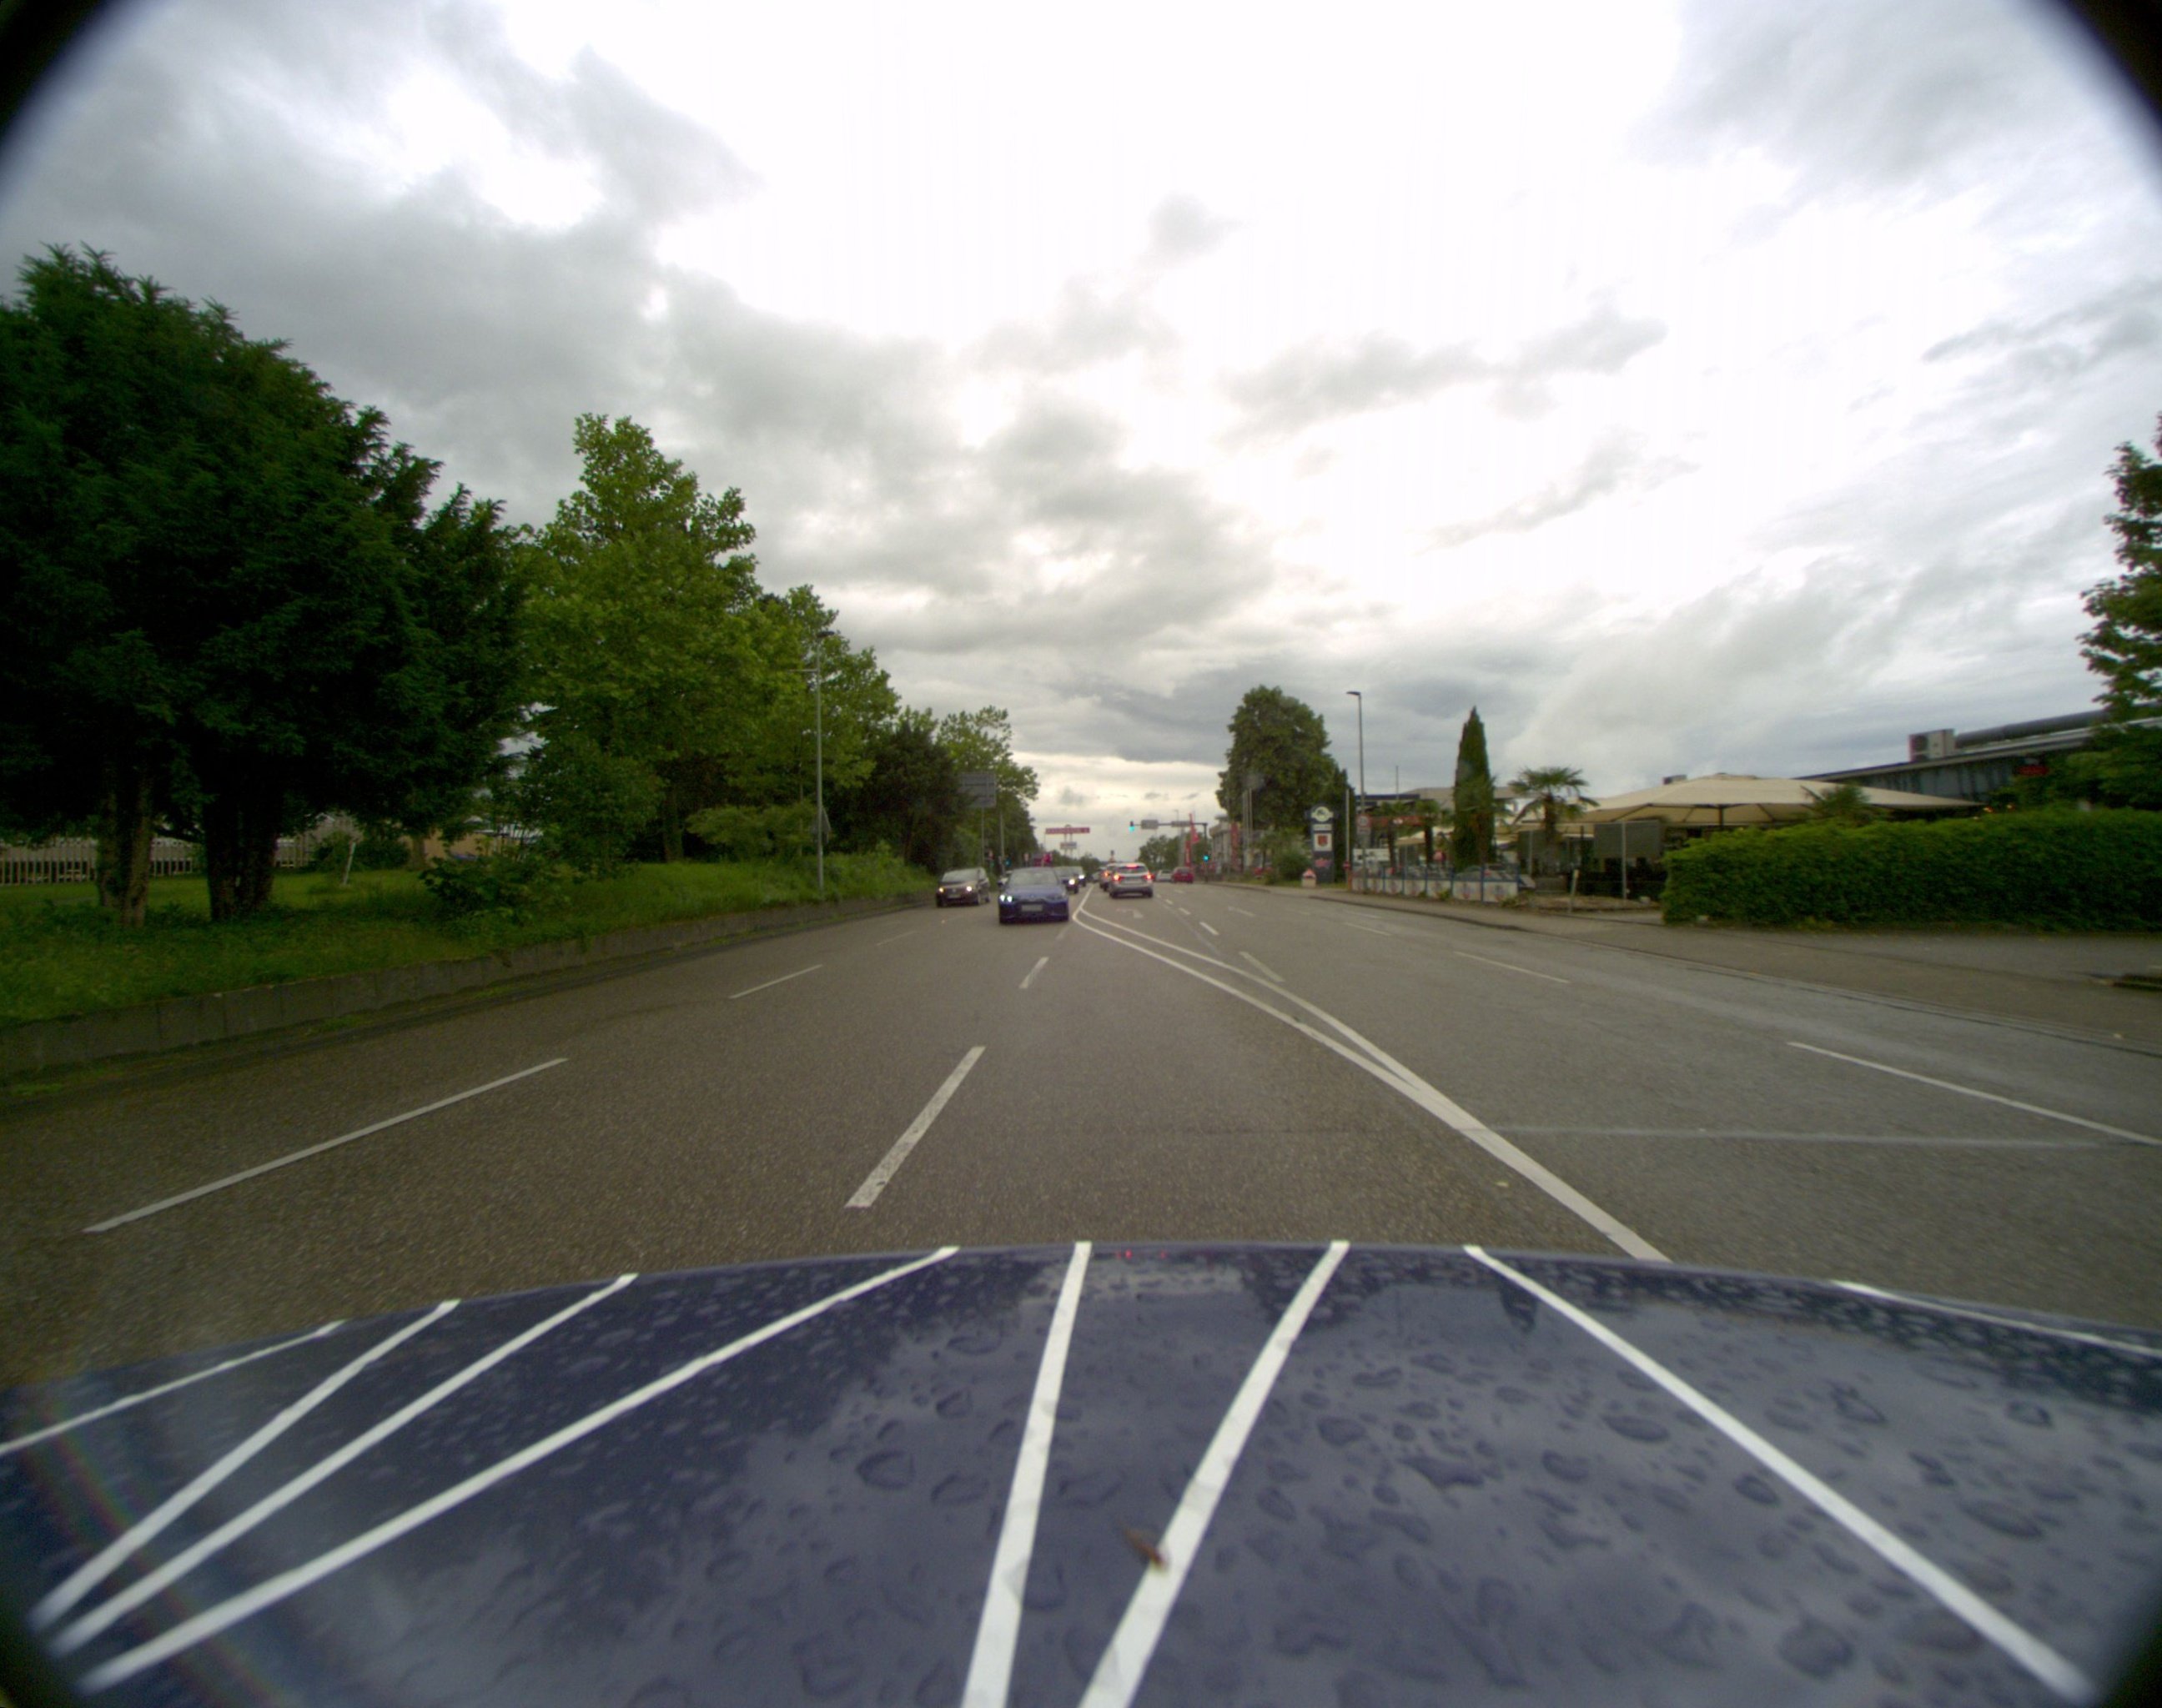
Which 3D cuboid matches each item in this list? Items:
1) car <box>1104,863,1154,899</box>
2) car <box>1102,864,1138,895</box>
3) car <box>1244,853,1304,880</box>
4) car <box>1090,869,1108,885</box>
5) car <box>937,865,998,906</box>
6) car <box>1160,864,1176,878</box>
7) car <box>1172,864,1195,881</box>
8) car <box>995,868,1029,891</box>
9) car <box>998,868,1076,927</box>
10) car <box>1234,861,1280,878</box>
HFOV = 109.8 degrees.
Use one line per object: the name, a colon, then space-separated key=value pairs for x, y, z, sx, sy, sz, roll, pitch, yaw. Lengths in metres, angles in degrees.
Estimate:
car: x=2.122 y=1.159 z=34.539 sx=1.754 sy=1.499 sz=4.301 roll=-1 pitch=0 yaw=-3
car: x=2.095 y=1.368 z=41.969 sx=1.791 sy=1.571 sz=4.240 roll=-1 pitch=0 yaw=1
car: x=15.575 y=1.035 z=61.279 sx=4.406 sy=2.001 sz=1.996 roll=2 pitch=-2 yaw=-25
car: x=1.938 y=2.444 z=80.372 sx=1.844 sy=1.639 sz=4.299 roll=-1 pitch=-2 yaw=2
car: x=-4.742 y=1.320 z=32.274 sx=1.751 sy=1.599 sz=3.982 roll=-2 pitch=-2 yaw=3
car: x=9.955 y=1.938 z=87.234 sx=1.640 sy=1.468 sz=4.048 roll=-1 pitch=-1 yaw=9
car: x=9.297 y=1.668 z=69.185 sx=1.641 sy=1.524 sz=3.973 roll=1 pitch=-1 yaw=2
car: x=-4.771 y=1.777 z=53.364 sx=1.784 sy=1.447 sz=4.682 roll=-2 pitch=-2 yaw=1
car: x=-1.139 y=1.175 z=21.715 sx=1.784 sy=1.447 sz=4.599 roll=-2 pitch=-2 yaw=1
car: x=15.631 y=1.369 z=67.604 sx=3.608 sy=1.495 sz=1.669 roll=0 pitch=0 yaw=32
